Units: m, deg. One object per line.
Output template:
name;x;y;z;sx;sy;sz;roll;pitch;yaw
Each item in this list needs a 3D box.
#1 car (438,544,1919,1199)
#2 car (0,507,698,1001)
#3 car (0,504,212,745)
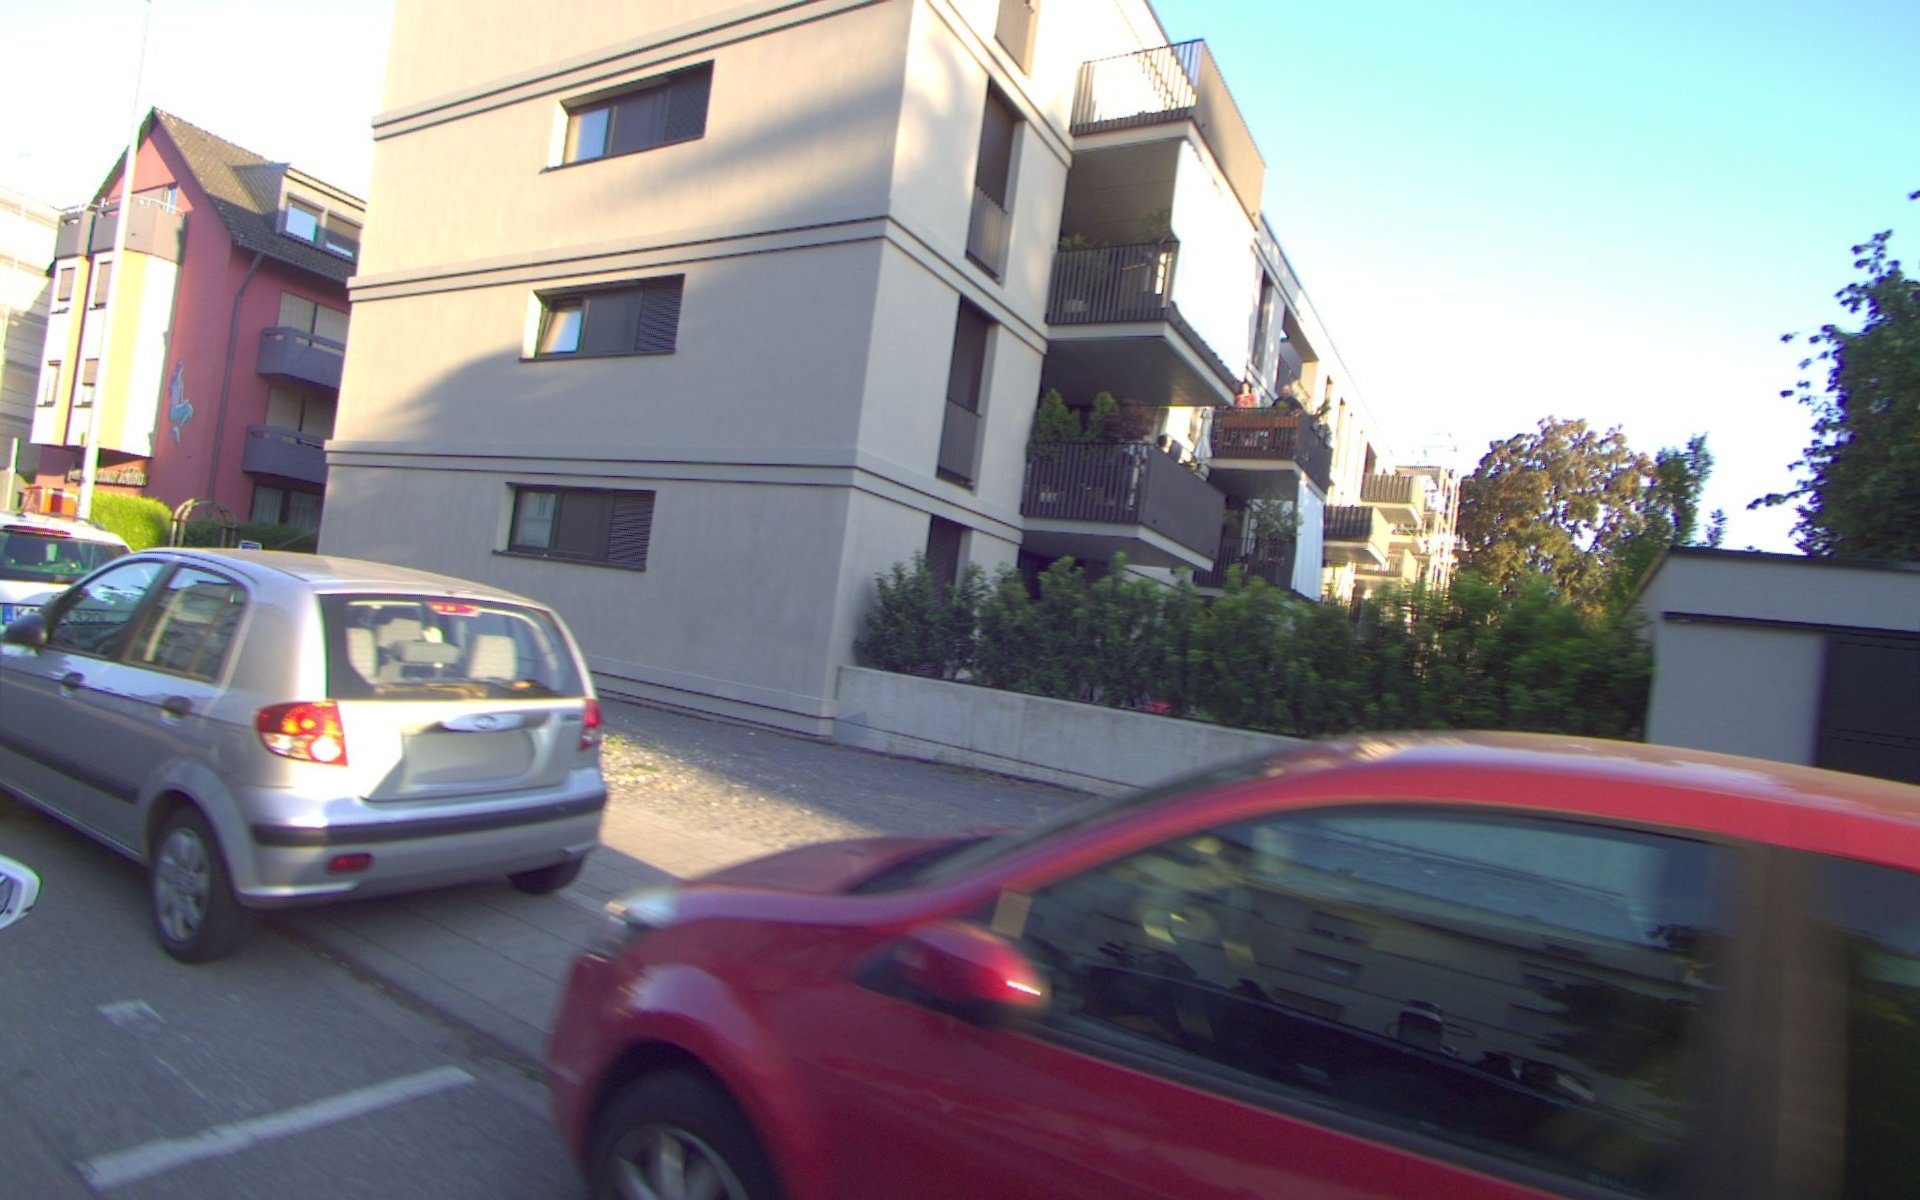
car;0.908;0.873;2.031;3.697;1.486;1.744;6;-2;33
car;-3.408;0.479;5.013;3.779;1.486;1.802;6;-2;31
car;-7.493;-0.003;7.416;3.929;1.486;1.619;6;-2;30
